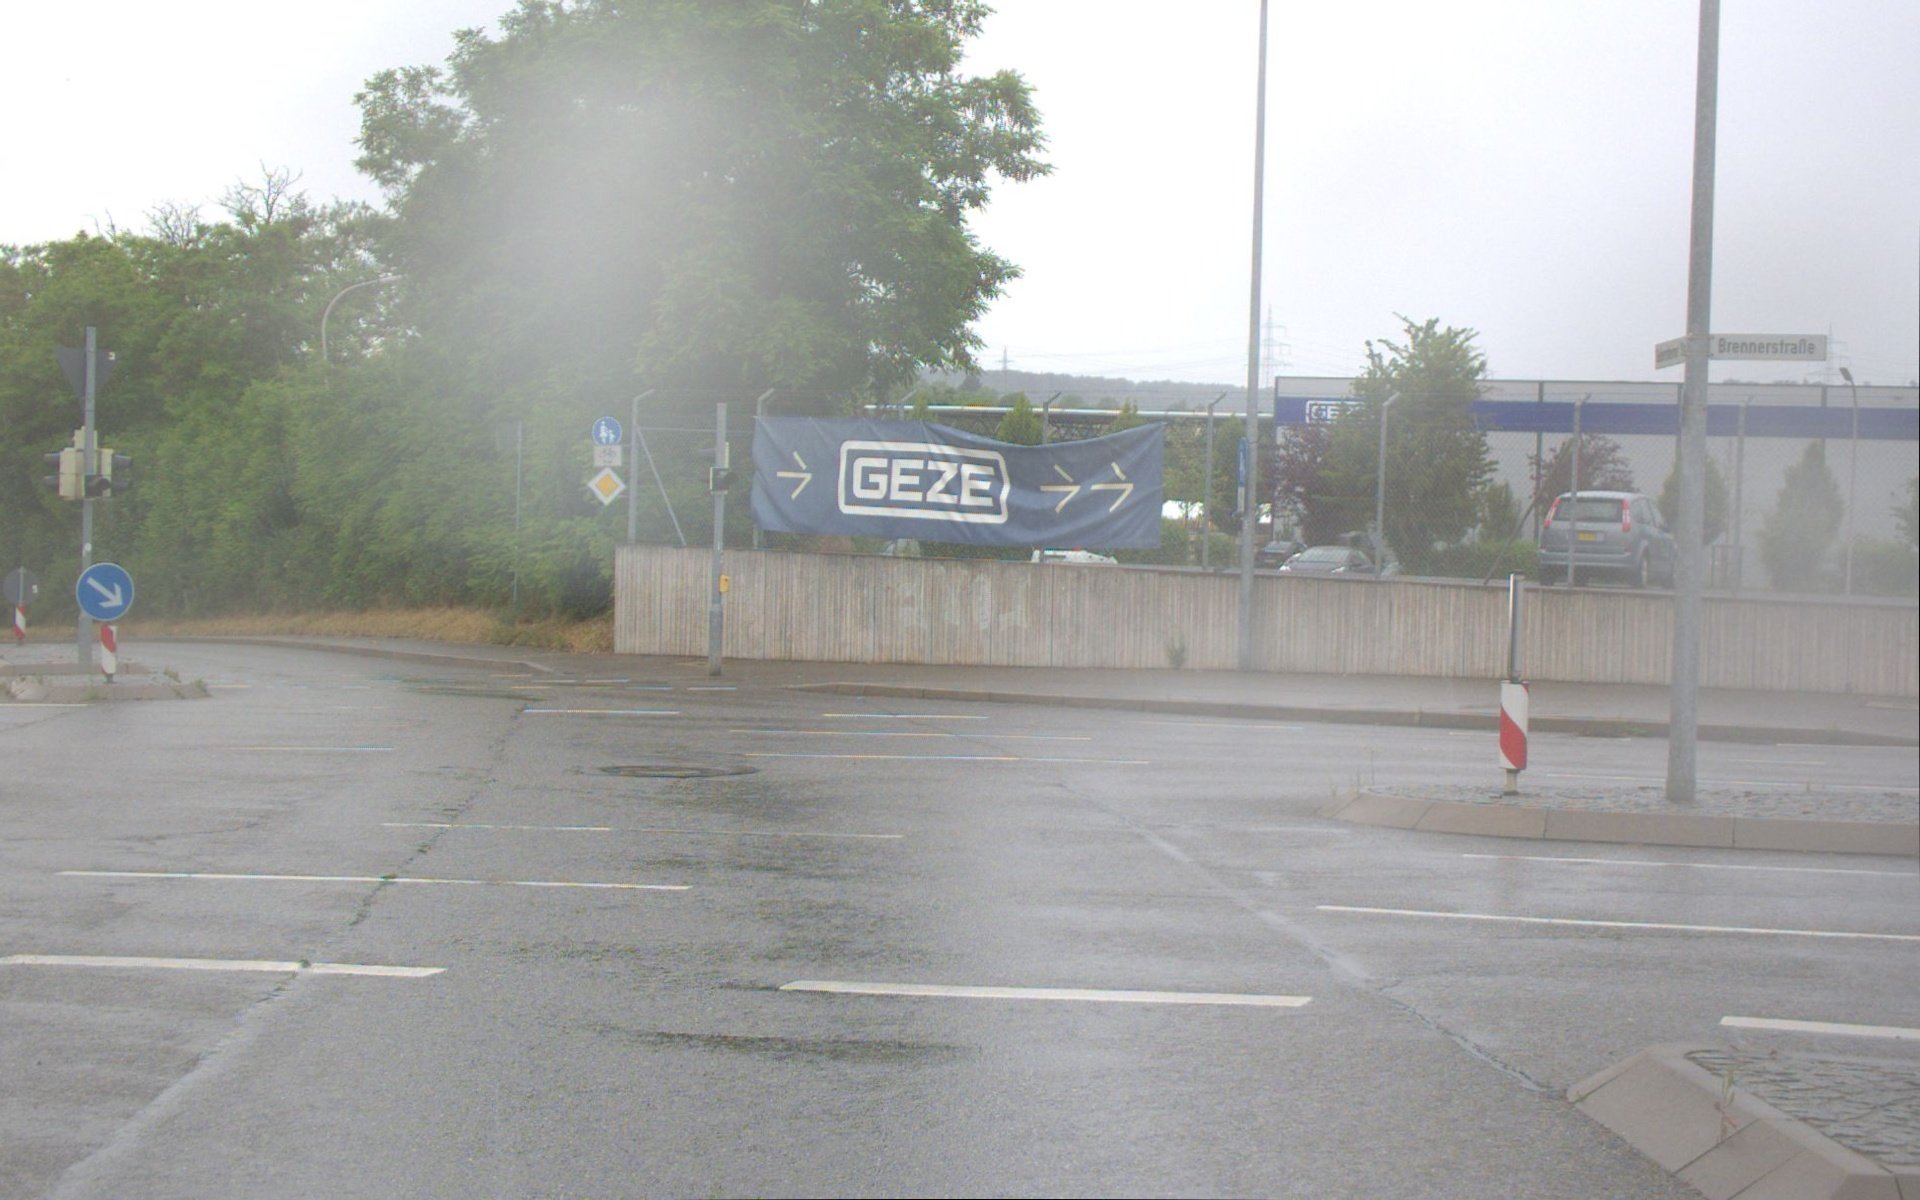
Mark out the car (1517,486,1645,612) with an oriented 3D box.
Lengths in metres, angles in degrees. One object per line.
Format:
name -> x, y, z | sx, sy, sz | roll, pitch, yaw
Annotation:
car -> 10.445, -0.862, 57.689 | 1.994, 2.007, 3.998 | 1, 1, 11
